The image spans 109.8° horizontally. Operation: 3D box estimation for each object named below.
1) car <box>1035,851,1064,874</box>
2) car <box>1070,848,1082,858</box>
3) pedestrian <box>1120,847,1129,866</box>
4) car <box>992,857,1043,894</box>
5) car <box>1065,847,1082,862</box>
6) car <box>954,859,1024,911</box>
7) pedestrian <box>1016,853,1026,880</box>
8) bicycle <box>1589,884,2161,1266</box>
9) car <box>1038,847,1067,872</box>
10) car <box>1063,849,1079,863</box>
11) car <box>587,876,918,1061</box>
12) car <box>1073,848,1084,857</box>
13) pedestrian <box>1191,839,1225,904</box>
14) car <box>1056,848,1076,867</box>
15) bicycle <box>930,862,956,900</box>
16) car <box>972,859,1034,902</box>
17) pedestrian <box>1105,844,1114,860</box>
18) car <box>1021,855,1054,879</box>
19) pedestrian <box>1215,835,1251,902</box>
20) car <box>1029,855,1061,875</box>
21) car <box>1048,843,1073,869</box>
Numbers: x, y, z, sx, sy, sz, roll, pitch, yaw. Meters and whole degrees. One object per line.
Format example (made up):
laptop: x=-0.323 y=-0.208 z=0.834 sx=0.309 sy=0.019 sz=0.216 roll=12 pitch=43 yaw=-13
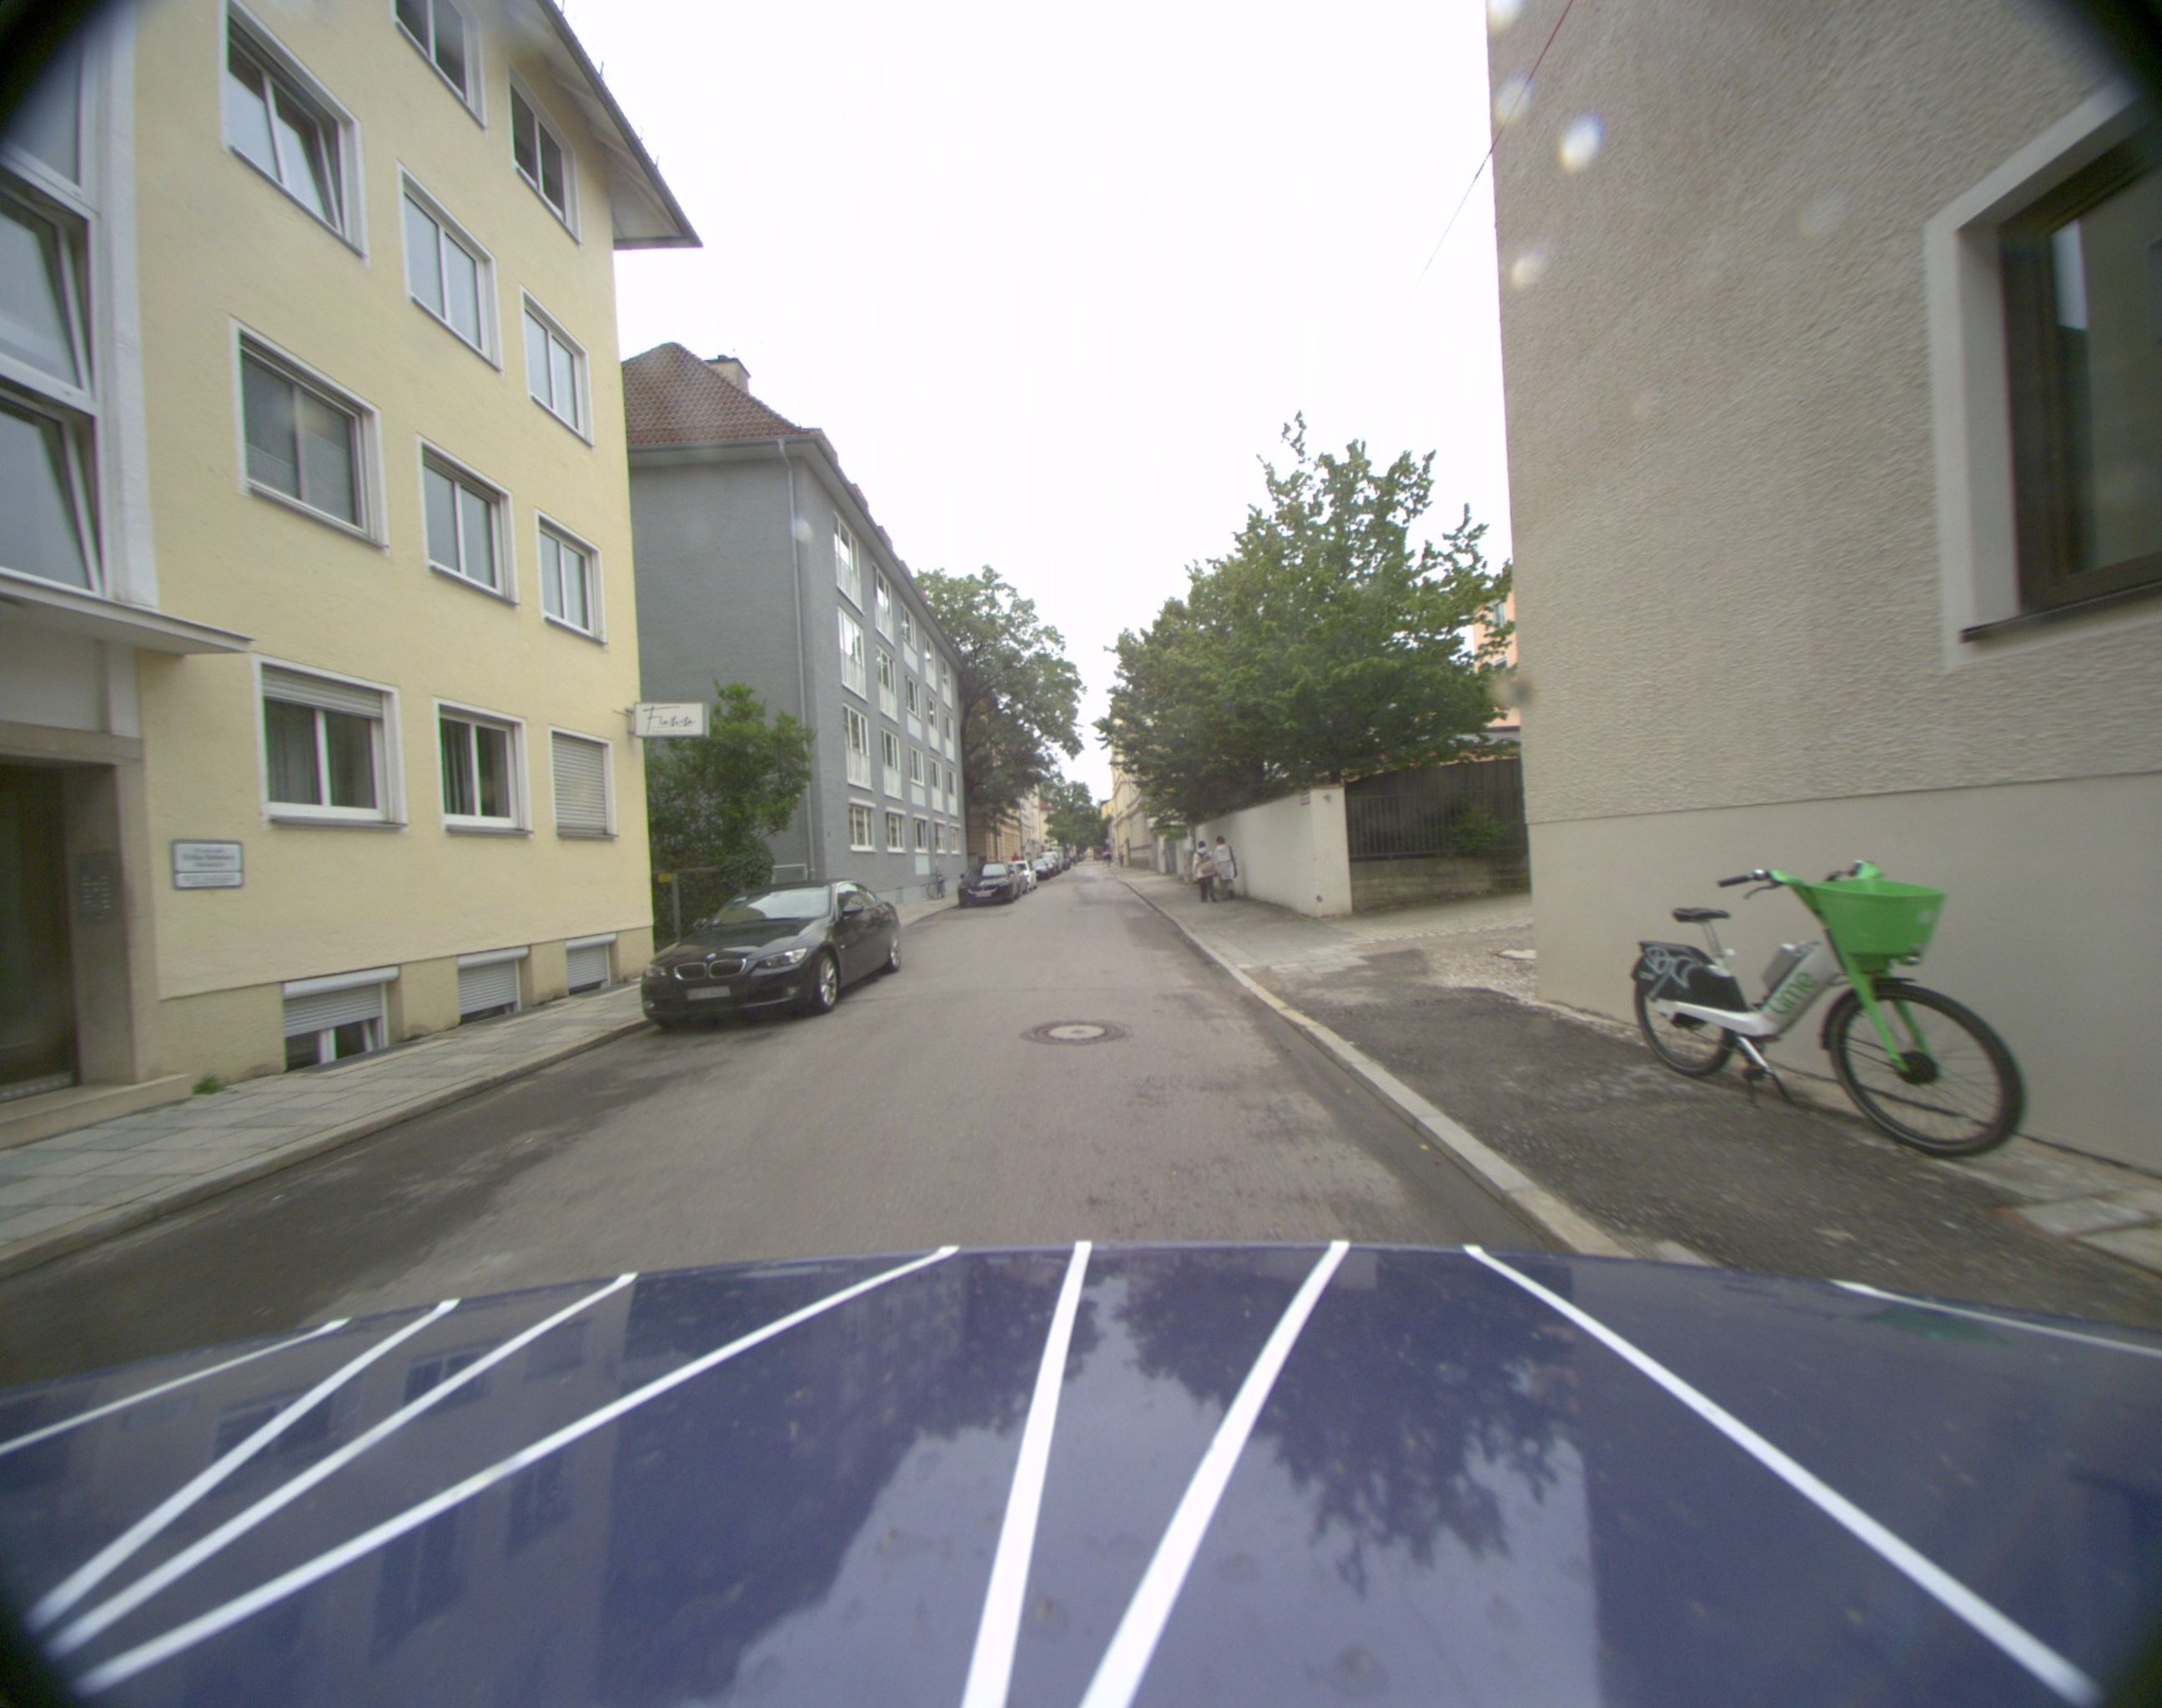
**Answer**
car: x=-2.502 y=0.629 z=61.562 sx=1.998 sy=1.677 sz=4.510 roll=-3 pitch=0 yaw=2
car: x=-1.058 y=-0.221 z=157.917 sx=2.014 sy=1.969 sz=5.090 roll=-7 pitch=0 yaw=2
pedestrian: x=4.069 y=0.237 z=71.259 sx=0.766 sy=1.742 sz=0.970 roll=-3 pitch=1 yaw=0
car: x=-2.981 y=0.966 z=36.396 sx=1.773 sy=1.437 sz=4.344 roll=-7 pitch=0 yaw=2
car: x=-1.160 y=0.069 z=123.709 sx=2.242 sy=2.247 sz=5.090 roll=-7 pitch=0 yaw=2
car: x=-3.104 y=1.011 z=26.506 sx=1.846 sy=1.420 sz=4.263 roll=-7 pitch=0 yaw=-1
pedestrian: x=-4.521 y=0.943 z=57.025 sx=0.581 sy=1.966 sz=0.455 roll=-4 pitch=1 yaw=1
bicycle: x=3.256 y=0.768 z=3.456 sx=0.539 sy=1.132 sz=1.917 roll=-5 pitch=1 yaw=0
car: x=-2.479 y=0.452 z=67.581 sx=1.998 sy=2.002 sz=5.064 roll=-3 pitch=0 yaw=3
car: x=-1.492 y=0.302 z=117.247 sx=2.014 sy=1.914 sz=5.090 roll=-7 pitch=0 yaw=2
car: x=-3.452 y=1.100 z=9.120 sx=1.830 sy=1.327 sz=4.508 roll=-7 pitch=0 yaw=0
car: x=-0.565 y=-0.319 z=178.192 sx=2.014 sy=1.969 sz=5.090 roll=-7 pitch=0 yaw=2
pedestrian: x=3.185 y=0.428 z=19.113 sx=0.624 sy=1.570 sz=0.714 roll=-4 pitch=1 yaw=1
car: x=-1.818 y=0.402 z=94.101 sx=2.014 sy=1.989 sz=5.090 roll=-7 pitch=0 yaw=2
bicycle: x=-5.693 y=1.083 z=31.513 sx=0.515 sy=1.478 sz=2.279 roll=-3 pitch=0 yaw=1
car: x=-3.143 y=1.038 z=31.336 sx=1.794 sy=1.393 sz=4.485 roll=-7 pitch=0 yaw=2
pedestrian: x=3.350 y=-0.239 z=88.171 sx=0.920 sy=1.742 sz=1.066 roll=-3 pitch=1 yaw=0
car: x=-2.871 y=0.844 z=51.034 sx=1.860 sy=1.366 sz=4.509 roll=-5 pitch=1 yaw=-1
pedestrian: x=3.826 y=0.349 z=19.168 sx=0.615 sy=1.612 sz=0.687 roll=-6 pitch=1 yaw=1
car: x=-2.622 y=0.783 z=56.249 sx=1.998 sy=1.306 sz=4.593 roll=-3 pitch=0 yaw=2
car: x=-2.144 y=0.204 z=80.682 sx=2.014 sy=2.479 sz=5.090 roll=-7 pitch=0 yaw=2
